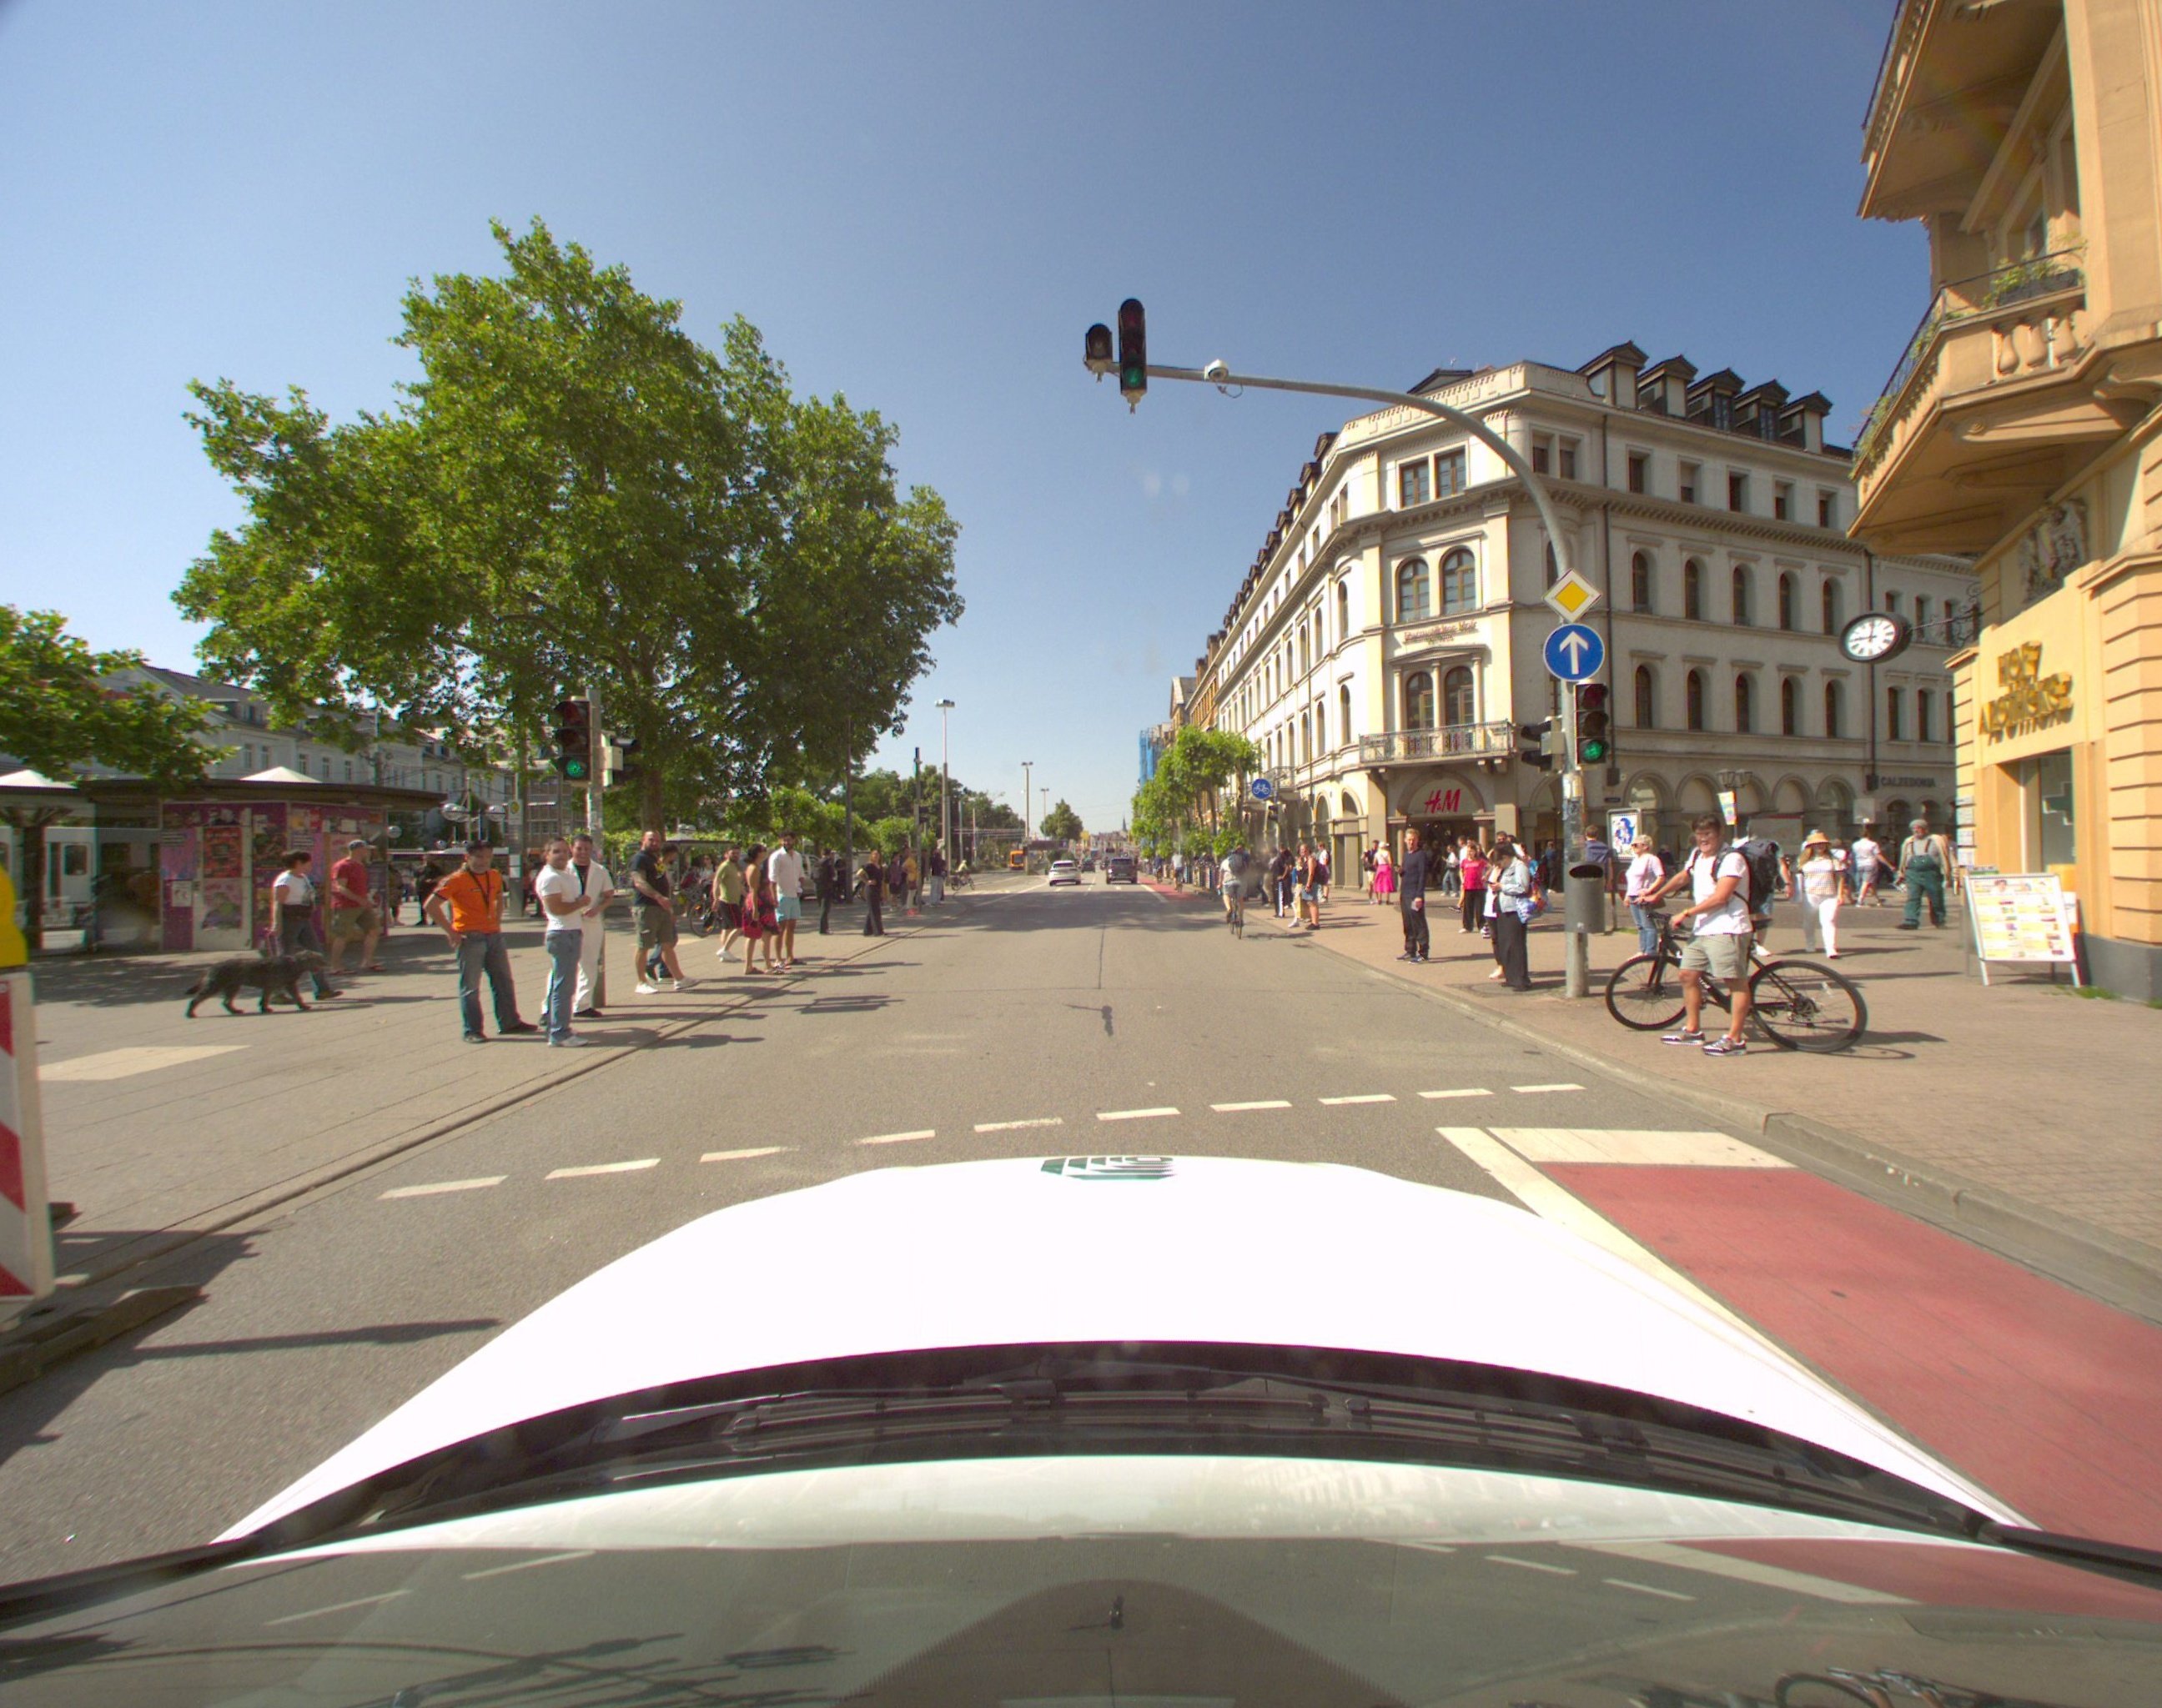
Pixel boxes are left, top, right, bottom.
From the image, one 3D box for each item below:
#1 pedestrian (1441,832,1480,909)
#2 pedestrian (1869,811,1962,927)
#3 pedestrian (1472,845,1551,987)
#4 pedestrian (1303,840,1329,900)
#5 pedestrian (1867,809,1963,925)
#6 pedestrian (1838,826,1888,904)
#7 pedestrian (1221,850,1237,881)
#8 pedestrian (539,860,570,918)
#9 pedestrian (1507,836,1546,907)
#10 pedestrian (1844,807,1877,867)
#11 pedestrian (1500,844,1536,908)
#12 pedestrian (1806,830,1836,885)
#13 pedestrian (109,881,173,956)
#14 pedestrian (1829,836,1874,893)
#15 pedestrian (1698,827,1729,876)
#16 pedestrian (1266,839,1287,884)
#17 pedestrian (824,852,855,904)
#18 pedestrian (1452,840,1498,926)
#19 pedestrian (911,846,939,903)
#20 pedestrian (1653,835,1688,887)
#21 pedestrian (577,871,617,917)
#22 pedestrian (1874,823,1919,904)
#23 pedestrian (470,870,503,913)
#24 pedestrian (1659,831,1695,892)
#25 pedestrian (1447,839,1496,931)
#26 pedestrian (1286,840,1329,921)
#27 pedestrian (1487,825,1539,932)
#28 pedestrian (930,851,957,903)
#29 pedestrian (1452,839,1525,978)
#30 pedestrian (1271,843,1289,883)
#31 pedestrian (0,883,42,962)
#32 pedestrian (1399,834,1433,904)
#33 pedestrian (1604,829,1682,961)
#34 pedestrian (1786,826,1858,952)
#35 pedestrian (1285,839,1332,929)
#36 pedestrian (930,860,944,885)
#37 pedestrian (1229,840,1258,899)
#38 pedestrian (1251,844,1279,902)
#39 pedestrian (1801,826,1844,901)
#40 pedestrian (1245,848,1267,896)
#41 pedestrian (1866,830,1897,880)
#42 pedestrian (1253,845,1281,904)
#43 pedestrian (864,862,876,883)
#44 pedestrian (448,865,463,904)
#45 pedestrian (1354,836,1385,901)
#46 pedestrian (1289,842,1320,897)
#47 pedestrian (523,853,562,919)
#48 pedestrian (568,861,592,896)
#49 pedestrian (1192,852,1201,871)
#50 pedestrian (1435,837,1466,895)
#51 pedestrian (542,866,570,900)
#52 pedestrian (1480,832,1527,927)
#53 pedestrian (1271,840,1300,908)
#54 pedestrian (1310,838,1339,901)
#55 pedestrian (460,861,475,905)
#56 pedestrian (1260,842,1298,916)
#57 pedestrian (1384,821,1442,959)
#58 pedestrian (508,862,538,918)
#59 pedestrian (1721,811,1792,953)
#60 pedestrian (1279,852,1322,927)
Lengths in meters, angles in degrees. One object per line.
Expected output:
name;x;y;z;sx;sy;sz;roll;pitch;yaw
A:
pedestrian;9.280;0.393;19.927;0.673;1.855;0.541;-1;-1;0
pedestrian;13.623;0.241;13.312;0.617;1.823;0.794;-2;-1;2
pedestrian;4.824;0.673;9.164;0.520;1.521;0.642;-2;-1;5
pedestrian;7.149;0.481;24.804;0.608;1.807;0.677;1;-1;0
pedestrian;13.542;0.215;13.245;0.808;1.824;0.780;0;-2;-22
pedestrian;19.035;0.259;19.825;0.660;1.869;0.676;0;0;-24
pedestrian;7.986;0.613;43.960;0.673;1.665;0.612;-1;-1;0
pedestrian;-15.444;1.024;23.904;0.508;1.657;0.528;-3;-2;21
pedestrian;10.867;0.424;19.879;0.539;1.716;0.677;0;-1;-3
pedestrian;24.675;-0.534;25.783;0.660;1.869;0.563;0;0;-24
pedestrian;11.267;0.558;21.012;0.538;1.633;0.677;0;-1;0
pedestrian;25.518;0.117;28.090;0.660;1.869;0.563;0;0;-24
pedestrian;-16.662;1.128;14.443;0.605;1.262;0.615;-1;0;28
pedestrian;22.688;0.299;23.985;0.660;1.617;0.754;0;0;-24
pedestrian;20.796;-0.092;26.788;0.660;1.600;0.563;0;0;-24
pedestrian;7.902;0.310;32.928;0.673;1.791;0.612;-1;-1;1
pedestrian;-8.416;0.830;28.384;0.671;1.764;0.771;-1;-1;31
pedestrian;7.596;0.544;15.727;0.521;1.609;0.642;-2;-1;2
pedestrian;-5.101;0.664;26.662;0.611;1.823;0.668;-1;-1;31
pedestrian;19.416;0.214;26.819;0.612;1.679;0.673;-1;-1;-20
pedestrian;-13.902;1.149;23.401;0.627;1.293;0.735;-1;-1;22
pedestrian;19.284;0.215;19.265;0.660;1.869;0.563;0;0;-24
pedestrian;-21.841;1.374;29.947;0.740;1.514;0.607;-1;0;7
pedestrian;17.022;0.205;23.268;0.543;1.716;0.671;0;0;-29
pedestrian;7.046;0.548;14.707;0.521;1.611;0.642;-2;-1;2
pedestrian;5.130;0.599;18.479;0.608;1.759;0.677;-5;-1;0
pedestrian;7.621;0.421;14.392;0.521;1.823;0.642;-2;-1;2
pedestrian;-4.515;0.750;26.743;0.611;1.668;0.596;-1;-1;31
pedestrian;4.957;0.645;9.934;0.546;1.631;0.589;-2;-1;5
pedestrian;8.863;0.399;36.321;0.626;1.791;0.612;-1;-1;1
pedestrian;-17.696;1.124;13.466;0.605;1.262;0.615;-1;0;37
pedestrian;8.838;0.401;21.506;0.608;1.807;0.677;-1;-1;0
pedestrian;7.273;0.515;10.557;0.546;1.640;0.589;-2;-1;5
pedestrian;9.595;0.442;10.549;0.554;1.569;0.581;-1;-1;-43
pedestrian;4.671;0.609;16.743;0.669;1.769;0.677;-4;-1;0
pedestrian;-9.629;1.233;54.504;0.768;1.629;0.612;-1;-1;1
pedestrian;5.383;0.518;26.982;0.681;1.898;0.615;-5;-1;28
pedestrian;5.538;0.571;24.557;0.581;1.700;0.605;-4;-1;0
pedestrian;18.881;0.244;20.746;0.543;1.869;0.671;0;0;-29
pedestrian;6.026;0.627;28.062;0.525;1.594;0.615;-1;2;28
pedestrian;27.899;0.033;28.397;0.660;1.696;0.563;0;0;-24
pedestrian;5.456;0.590;23.925;0.581;1.673;0.605;-4;-1;0
pedestrian;-17.810;1.562;68.851;0.704;1.707;0.658;-1;-1;17
pedestrian;-25.080;1.214;32.649;0.410;1.574;0.385;-1;0;40
pedestrian;8.199;0.406;23.128;0.608;1.823;0.677;-1;-1;0
pedestrian;7.129;0.490;26.029;0.613;1.705;0.672;-2;0;-26
pedestrian;-14.949;0.883;22.600;0.627;1.810;0.618;-3;-2;21
pedestrian;-22.336;1.085;36.315;0.603;1.514;0.745;-1;0;-5
pedestrian;9.613;0.608;67.730;0.673;1.572;0.612;-1;-1;0
pedestrian;11.356;0.369;25.046;0.608;1.764;0.677;-1;-1;0
pedestrian;-23.646;1.293;36.681;0.738;1.514;0.739;-1;0;15
pedestrian;7.792;0.462;15.041;0.521;1.702;0.536;-2;-1;2
pedestrian;5.572;0.530;22.223;0.608;1.823;0.677;-1;-1;0
pedestrian;7.188;0.457;24.061;0.608;1.807;0.677;-1;-1;0
pedestrian;-24.849;1.166;32.984;0.410;1.749;0.385;-1;0;40
pedestrian;4.834;0.597;19.905;0.608;1.739;0.677;-5;-1;0
pedestrian;4.733;0.504;11.644;0.520;1.898;0.642;-2;-1;5
pedestrian;-16.447;1.063;24.005;0.494;1.603;0.501;-3;-2;21
pedestrian;8.913;0.355;10.748;0.554;1.801;0.581;-1;-1;-43
pedestrian;4.693;0.746;17.449;0.608;1.515;0.677;-5;-1;0
